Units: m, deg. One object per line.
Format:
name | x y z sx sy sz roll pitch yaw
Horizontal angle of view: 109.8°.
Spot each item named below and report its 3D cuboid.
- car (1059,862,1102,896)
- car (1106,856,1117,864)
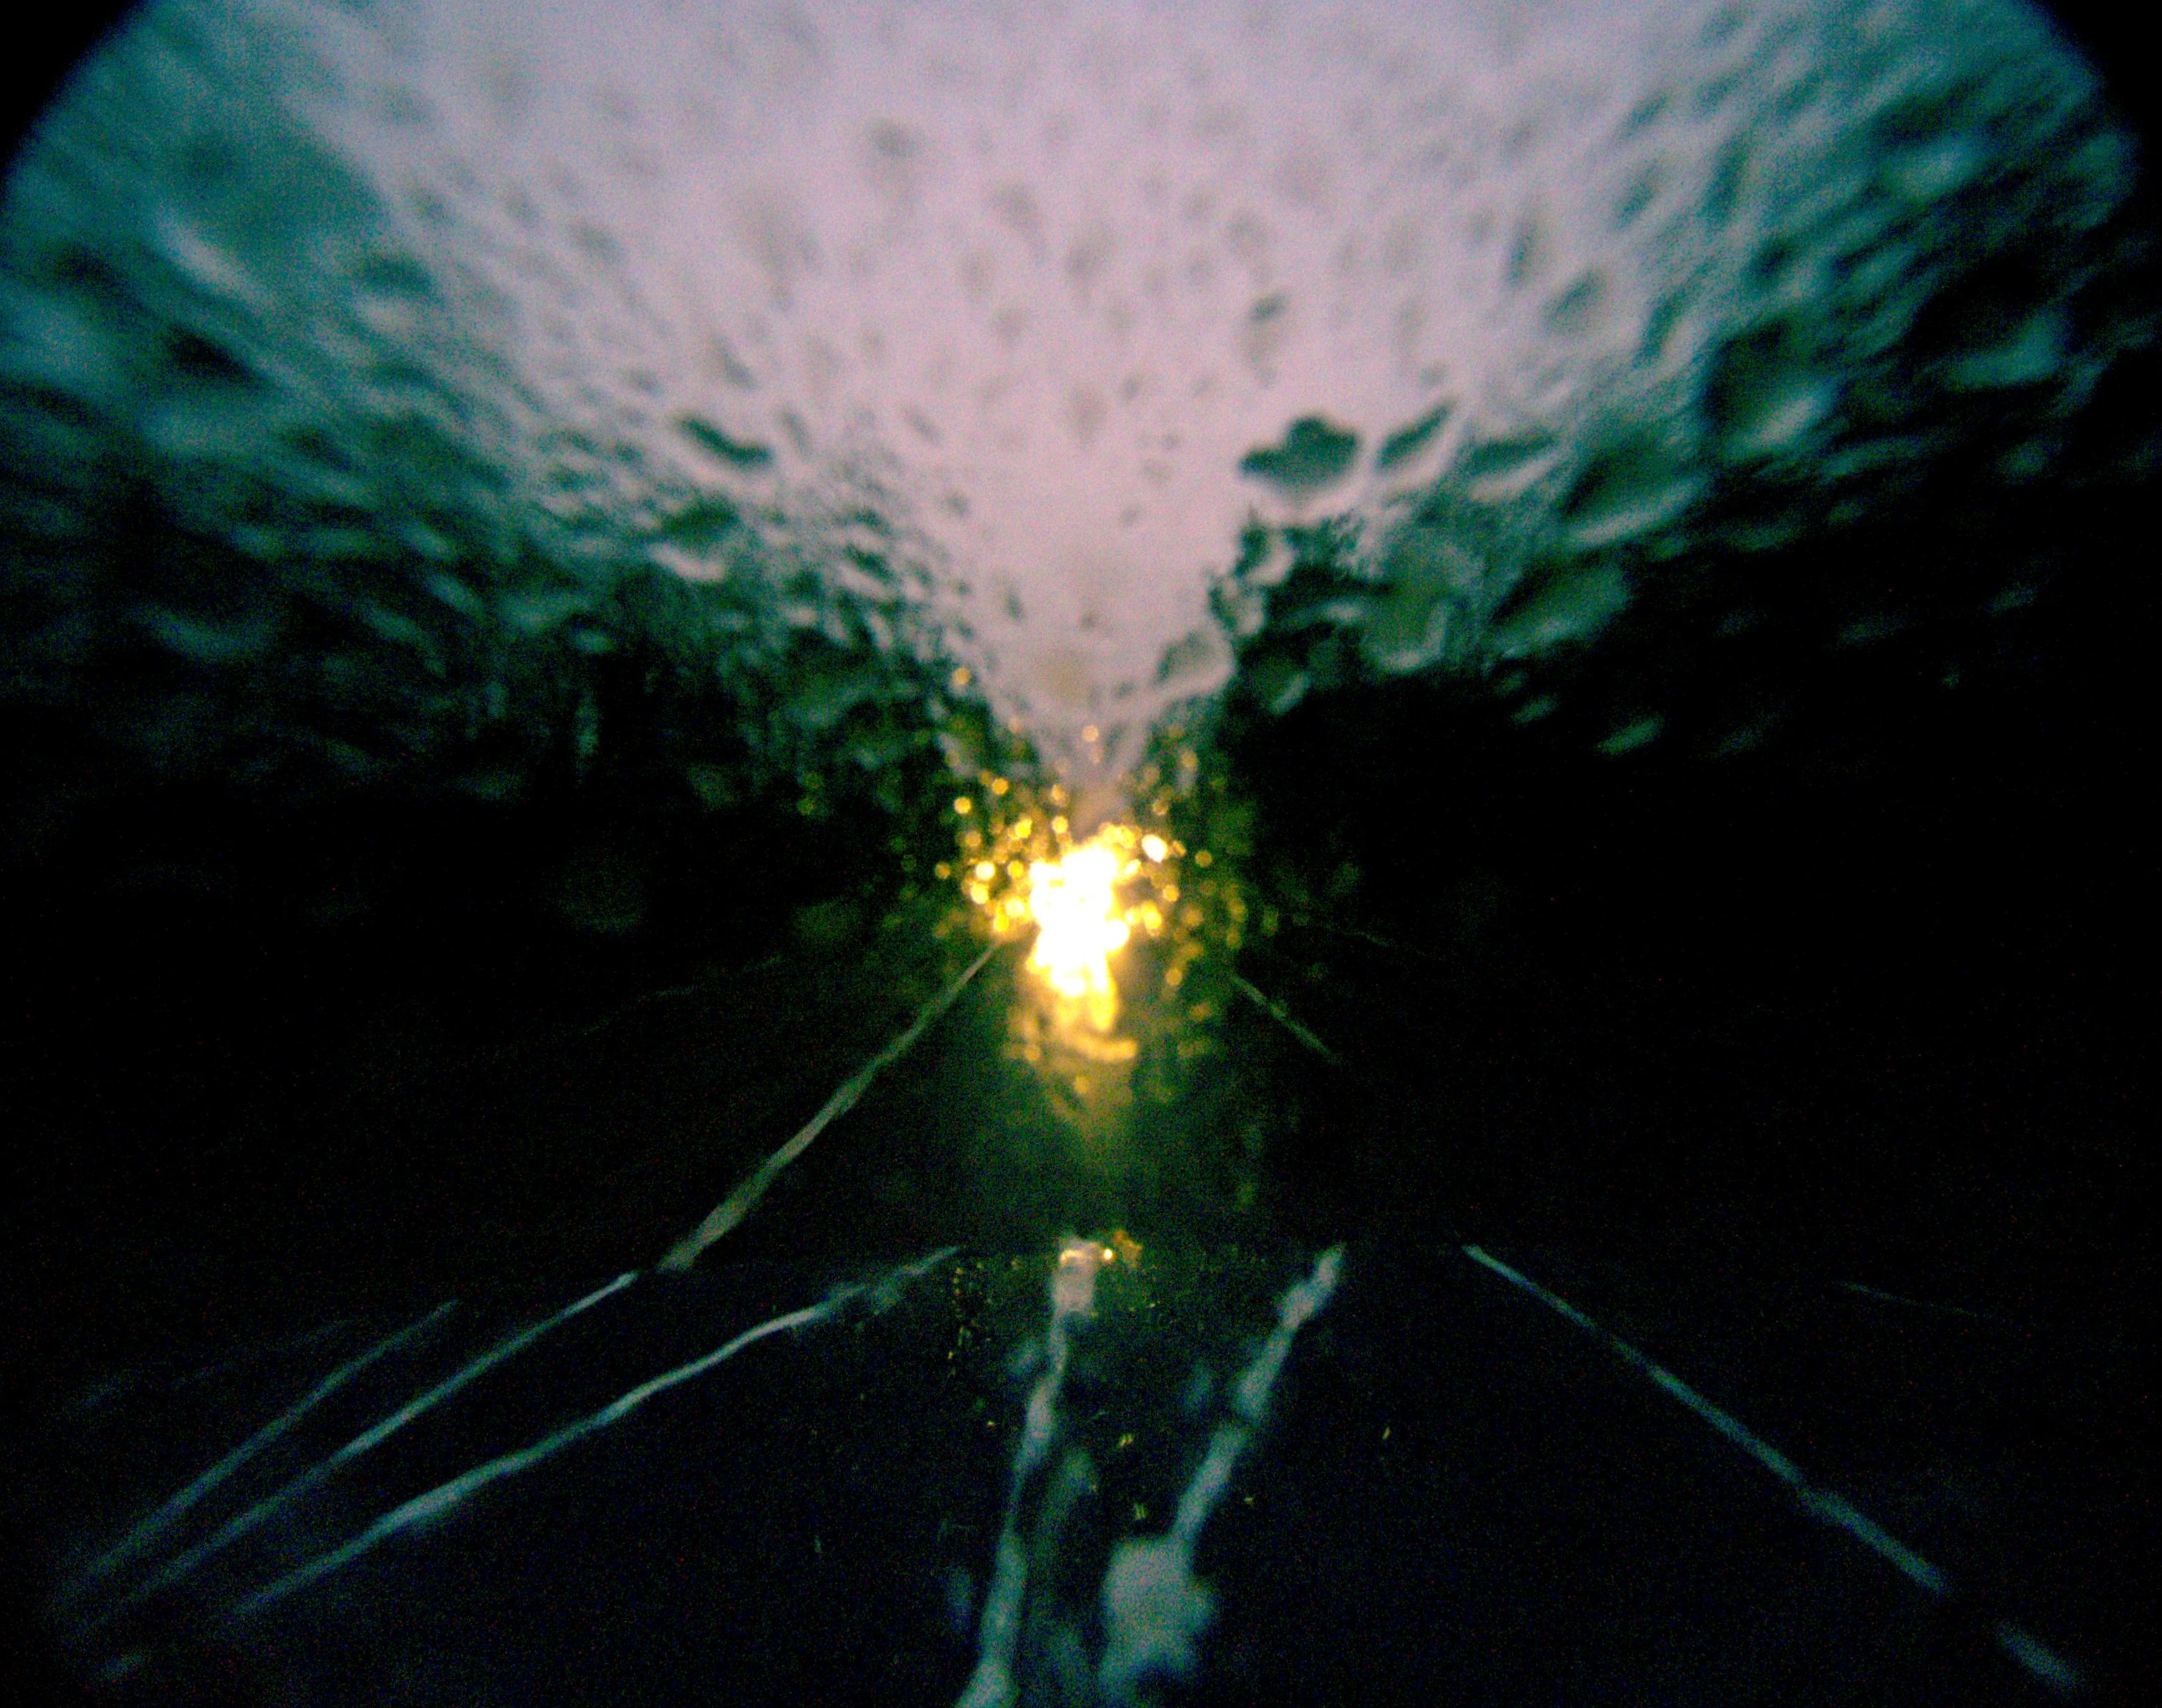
car | 0.021 1.092 34.816 1.845 1.390 4.000 -1 0 1
car | 5.585 1.180 139.985 1.708 1.355 4.376 -3 -1 1
